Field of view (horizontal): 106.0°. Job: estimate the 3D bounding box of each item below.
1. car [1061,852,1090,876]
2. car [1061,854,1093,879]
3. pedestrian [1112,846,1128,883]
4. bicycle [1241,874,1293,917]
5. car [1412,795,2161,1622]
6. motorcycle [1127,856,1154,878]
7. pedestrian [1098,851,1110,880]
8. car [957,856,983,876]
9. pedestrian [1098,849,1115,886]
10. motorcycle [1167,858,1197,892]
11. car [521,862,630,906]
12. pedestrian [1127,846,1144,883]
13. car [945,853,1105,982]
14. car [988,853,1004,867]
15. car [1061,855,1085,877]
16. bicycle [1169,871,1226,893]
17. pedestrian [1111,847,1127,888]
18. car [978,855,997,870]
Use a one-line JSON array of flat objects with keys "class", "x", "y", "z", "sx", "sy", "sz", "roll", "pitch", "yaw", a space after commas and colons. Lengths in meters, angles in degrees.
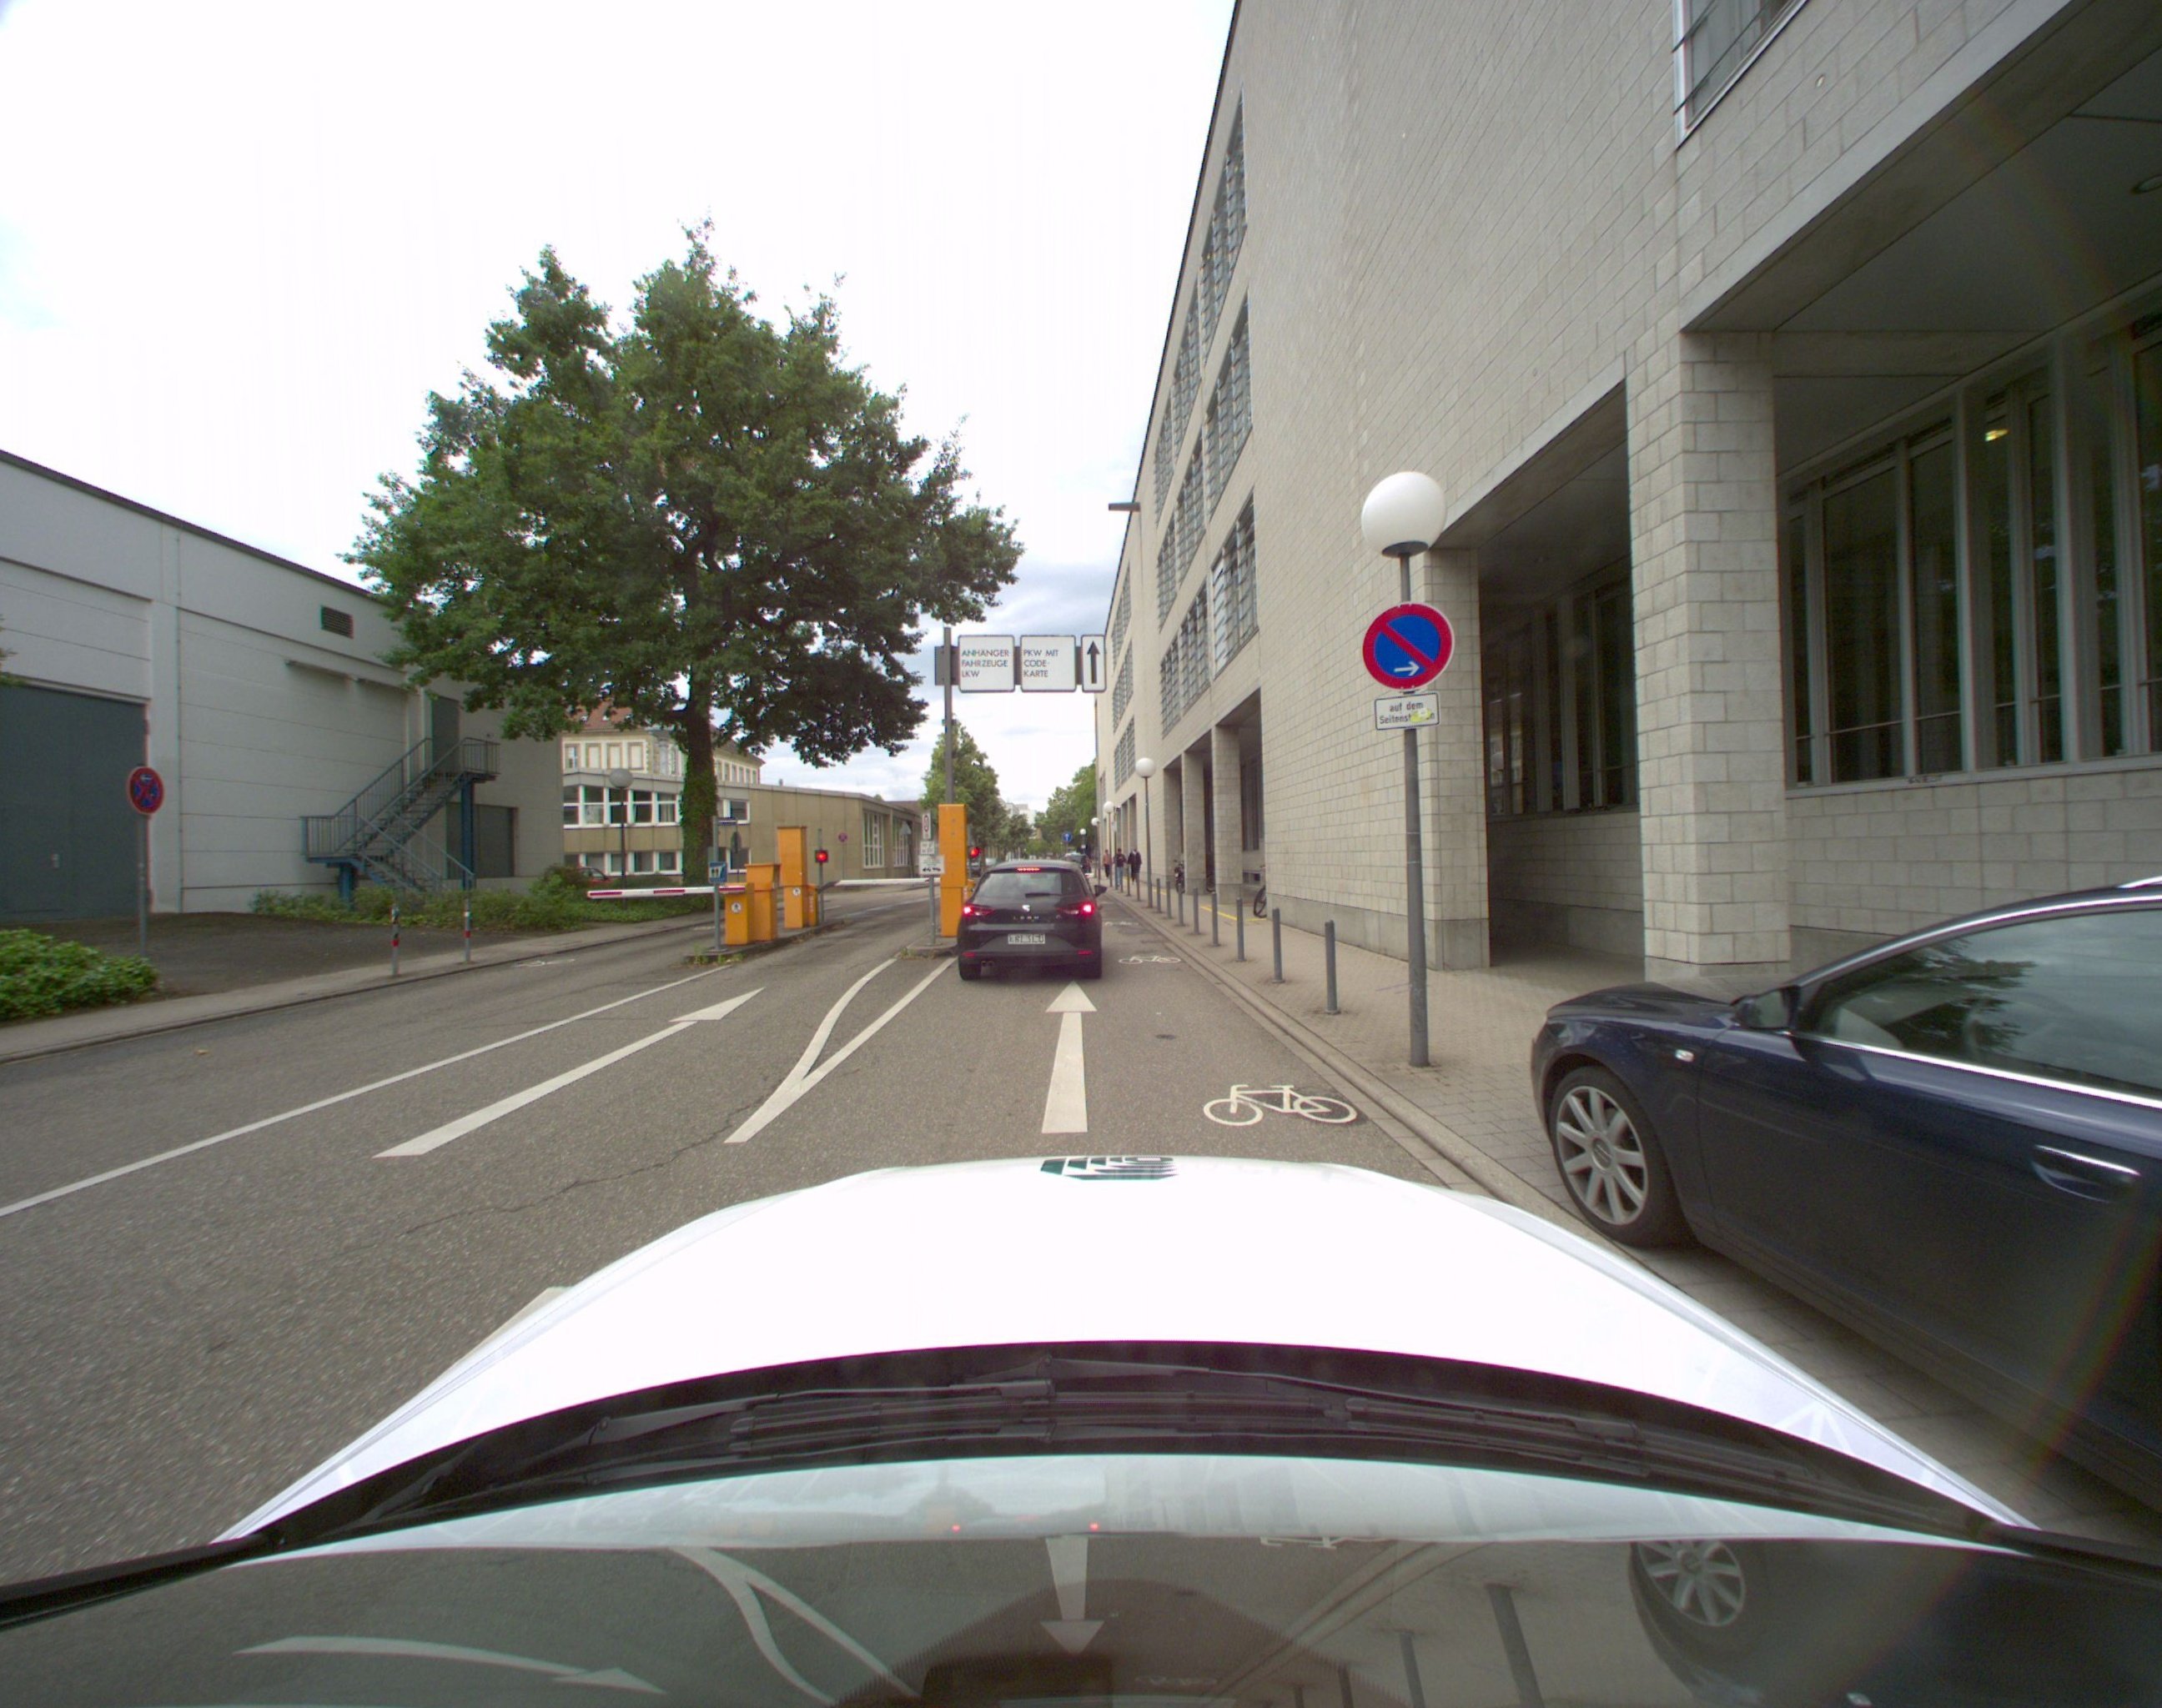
[{"class": "car", "x": -0.427, "y": 0.736, "z": 60.934, "sx": 1.988, "sy": 1.622, "sz": 4.425, "roll": -3, "pitch": 0, "yaw": -2}, {"class": "car", "x": -0.301, "y": 0.873, "z": 56.408, "sx": 1.989, "sy": 1.622, "sz": 4.423, "roll": -2, "pitch": -1, "yaw": -3}, {"class": "pedestrian", "x": 1.780, "y": 0.473, "z": 37.178, "sx": 0.688, "sy": 1.698, "sz": 0.587, "roll": 0, "pitch": 2, "yaw": -5}, {"class": "bicycle", "x": 4.104, "y": 0.891, "z": 17.837, "sx": 0.458, "sy": 0.751, "sz": 2.309, "roll": -6, "pitch": -1, "yaw": 28}, {"class": "car", "x": 2.860, "y": 0.600, "z": 1.971, "sx": 1.988, "sy": 1.452, "sz": 4.919, "roll": -2, "pitch": 0, "yaw": -2}, {"class": "motorcycle", "x": 3.489, "y": 0.765, "z": 47.690, "sx": 0.752, "sy": 1.148, "sz": 2.678, "roll": 0, "pitch": 2, "yaw": 23}, {"class": "pedestrian", "x": 1.377, "y": 0.657, "z": 48.628, "sx": 0.693, "sy": 1.714, "sz": 0.489, "roll": -1, "pitch": 0, "yaw": 2}, {"class": "car", "x": -9.213, "y": 0.955, "z": 68.055, "sx": 1.766, "sy": 1.601, "sz": 3.996, "roll": -1, "pitch": 0, "yaw": -3}, {"class": "pedestrian", "x": 1.182, "y": 0.632, "z": 37.785, "sx": 0.696, "sy": 1.714, "sz": 0.488, "roll": -1, "pitch": 0, "yaw": -8}, {"class": "motorcycle", "x": 3.859, "y": 0.769, "z": 31.067, "sx": 0.560, "sy": 1.148, "sz": 2.229, "roll": 0, "pitch": 2, "yaw": 23}, {"class": "car", "x": -19.806, "y": 1.132, "z": 32.134, "sx": 1.858, "sy": 1.530, "sz": 3.997, "roll": -1, "pitch": 0, "yaw": -2}, {"class": "pedestrian", "x": 2.565, "y": 0.507, "z": 38.348, "sx": 0.727, "sy": 1.698, "sz": 0.587, "roll": -1, "pitch": 2, "yaw": -7}, {"class": "car", "x": -0.699, "y": 0.713, "z": 11.256, "sx": 1.778, "sy": 1.419, "sz": 4.126, "roll": -1, "pitch": 0, "yaw": -2}, {"class": "car", "x": -10.016, "y": 0.648, "z": 96.320, "sx": 1.766, "sy": 1.601, "sz": 3.995, "roll": -1, "pitch": 0, "yaw": -4}, {"class": "car", "x": -0.766, "y": 1.052, "z": 72.837, "sx": 1.988, "sy": 1.782, "sz": 4.424, "roll": -3, "pitch": 0, "yaw": -2}, {"class": "bicycle", "x": 3.984, "y": 0.946, "z": 27.941, "sx": 1.894, "sy": 0.698, "sz": 0.492, "roll": -1, "pitch": 2, "yaw": -6}, {"class": "pedestrian", "x": 1.607, "y": 0.571, "z": 34.508, "sx": 0.609, "sy": 1.714, "sz": 0.574, "roll": -2, "pitch": 0, "yaw": 0}, {"class": "car", "x": -10.408, "y": 0.881, "z": 90.800, "sx": 1.765, "sy": 1.601, "sz": 3.997, "roll": -1, "pitch": 0, "yaw": -2}]
